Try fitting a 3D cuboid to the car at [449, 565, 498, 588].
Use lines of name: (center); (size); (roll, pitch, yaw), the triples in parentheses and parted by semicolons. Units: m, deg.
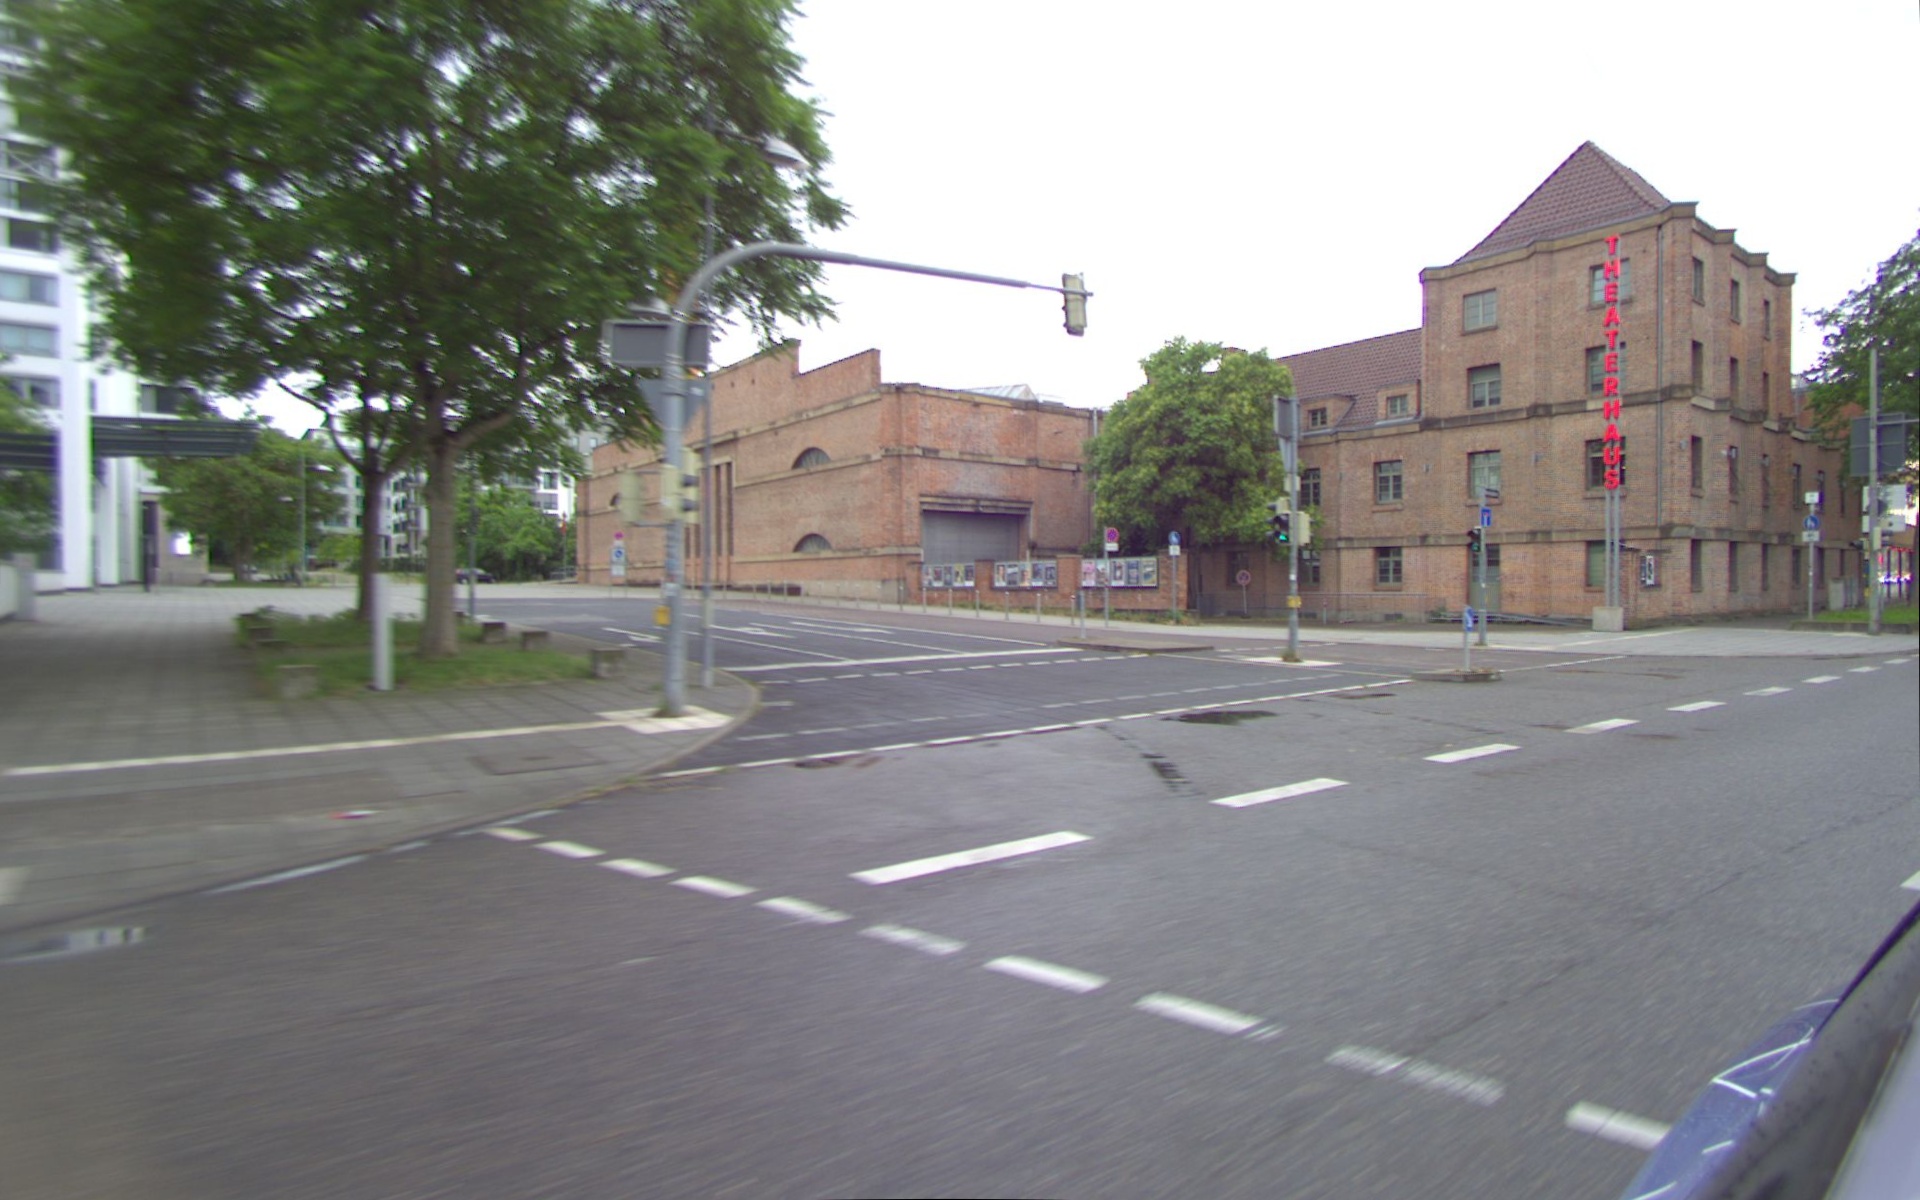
car: (-46.385, -2.247, 96.473); (3.925, 2.039, 2.000); (-2, 1, -36)
